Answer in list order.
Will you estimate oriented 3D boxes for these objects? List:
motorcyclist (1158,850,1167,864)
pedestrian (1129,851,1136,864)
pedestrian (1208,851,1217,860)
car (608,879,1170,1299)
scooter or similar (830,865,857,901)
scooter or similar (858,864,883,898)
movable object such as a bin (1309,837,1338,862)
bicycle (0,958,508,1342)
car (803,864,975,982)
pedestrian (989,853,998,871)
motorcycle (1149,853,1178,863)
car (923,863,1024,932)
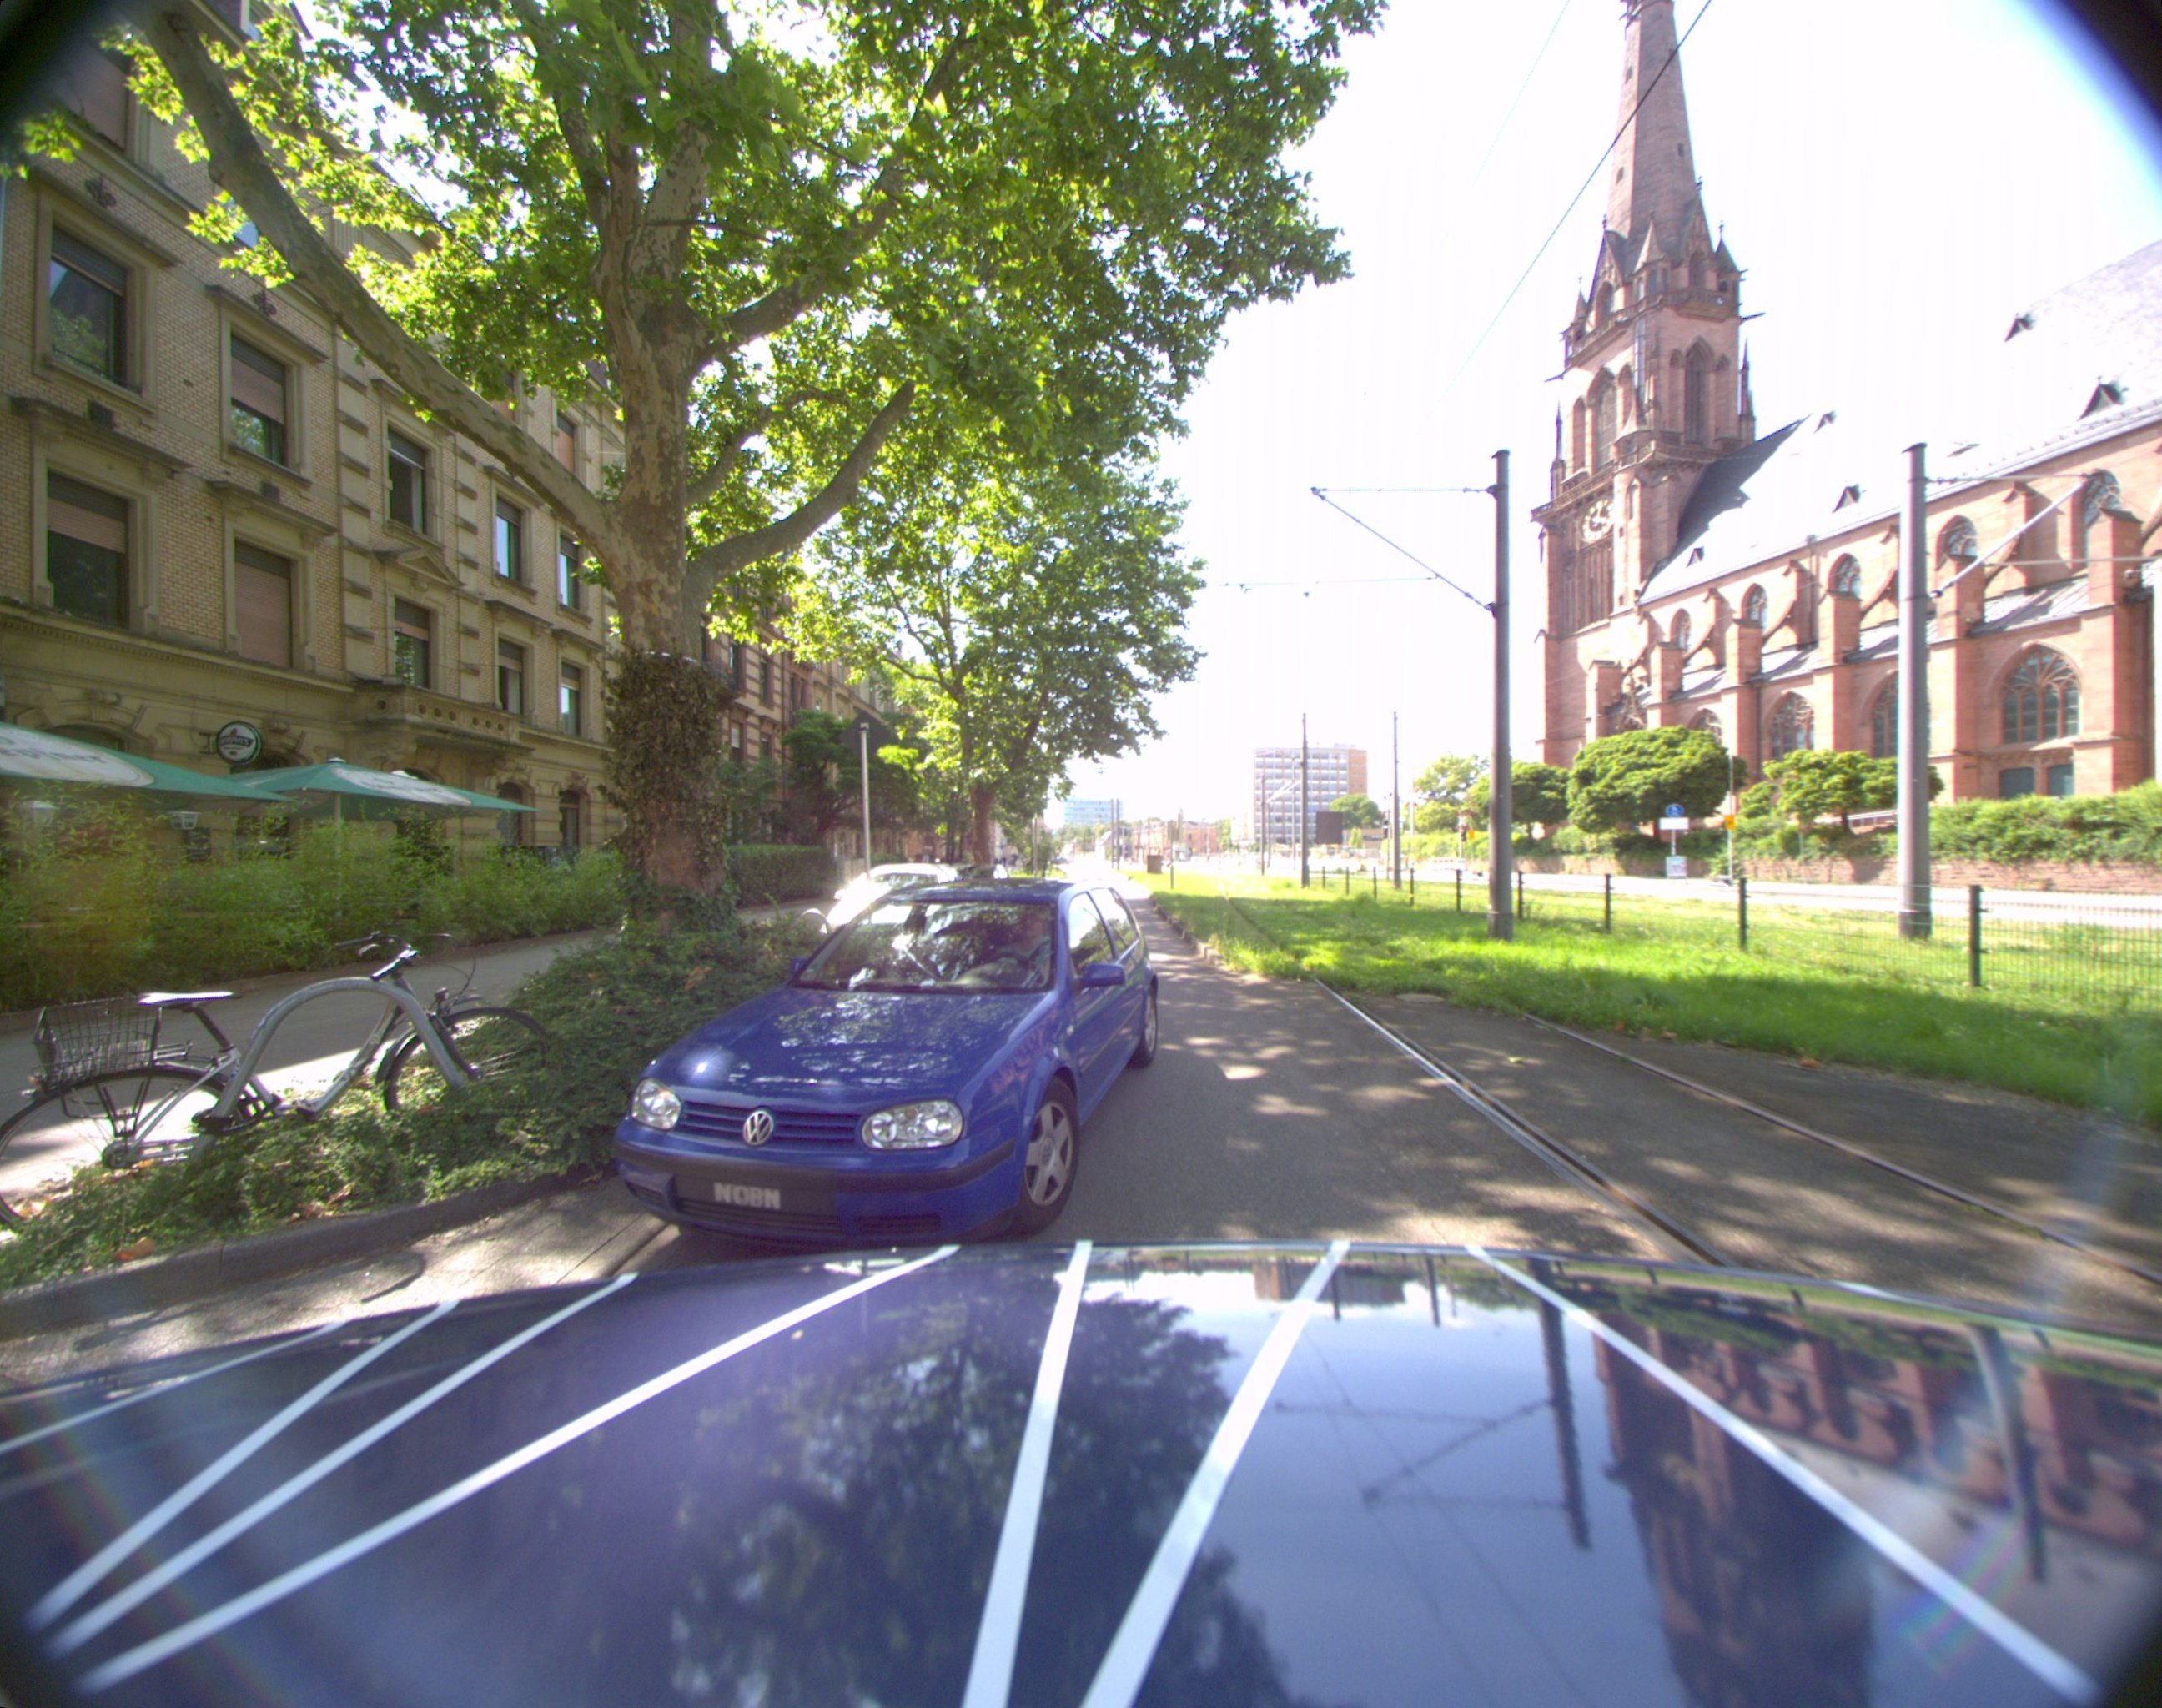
[{"bbox_3d":[11.328,0.378,105.725,1.106,1.919,1.334,-1,1,11],"label":"motorcyclist"},{"bbox_3d":[6.914,0.470,102.239,0.850,1.644,1.128,-1,1,1],"label":"pedestrian"},{"bbox_3d":[24.426,0.290,141.370,1.426,1.796,1.422,-1,0,-3],"label":"pedestrian"},{"bbox_3d":[-0.600,0.937,4.991,1.884,1.401,4.097,-1,0,13],"label":"car"},{"bbox_3d":[-8.462,1.033,27.122,0.583,1.240,1.145,0,0,1],"label":"scooter or similar"},{"bbox_3d":[-8.264,1.042,29.843,0.583,1.275,1.145,0,0,3],"label":"scooter or similar"},{"bbox_3d":[37.674,-0.664,118.110,3.341,3.859,2.932,-1,1,-33],"label":"movable object such as a bin"},{"bbox_3d":[-3.512,1.106,3.262,0.421,1.099,1.620,0,0,31],"label":"bicycle"},{"bbox_3d":[-2.853,0.942,12.347,1.838,1.499,4.490,0,0,-3],"label":"car"},{"bbox_3d":[-8.682,0.795,75.246,0.797,1.708,0.967,-1,1,0],"label":"pedestrian"},{"bbox_3d":[11.471,0.603,105.689,3.931,1.331,1.246,-1,0,11],"label":"motorcycle"},{"bbox_3d":[-2.613,1.018,19.547,1.838,1.499,4.643,0,0,1],"label":"car"}]
